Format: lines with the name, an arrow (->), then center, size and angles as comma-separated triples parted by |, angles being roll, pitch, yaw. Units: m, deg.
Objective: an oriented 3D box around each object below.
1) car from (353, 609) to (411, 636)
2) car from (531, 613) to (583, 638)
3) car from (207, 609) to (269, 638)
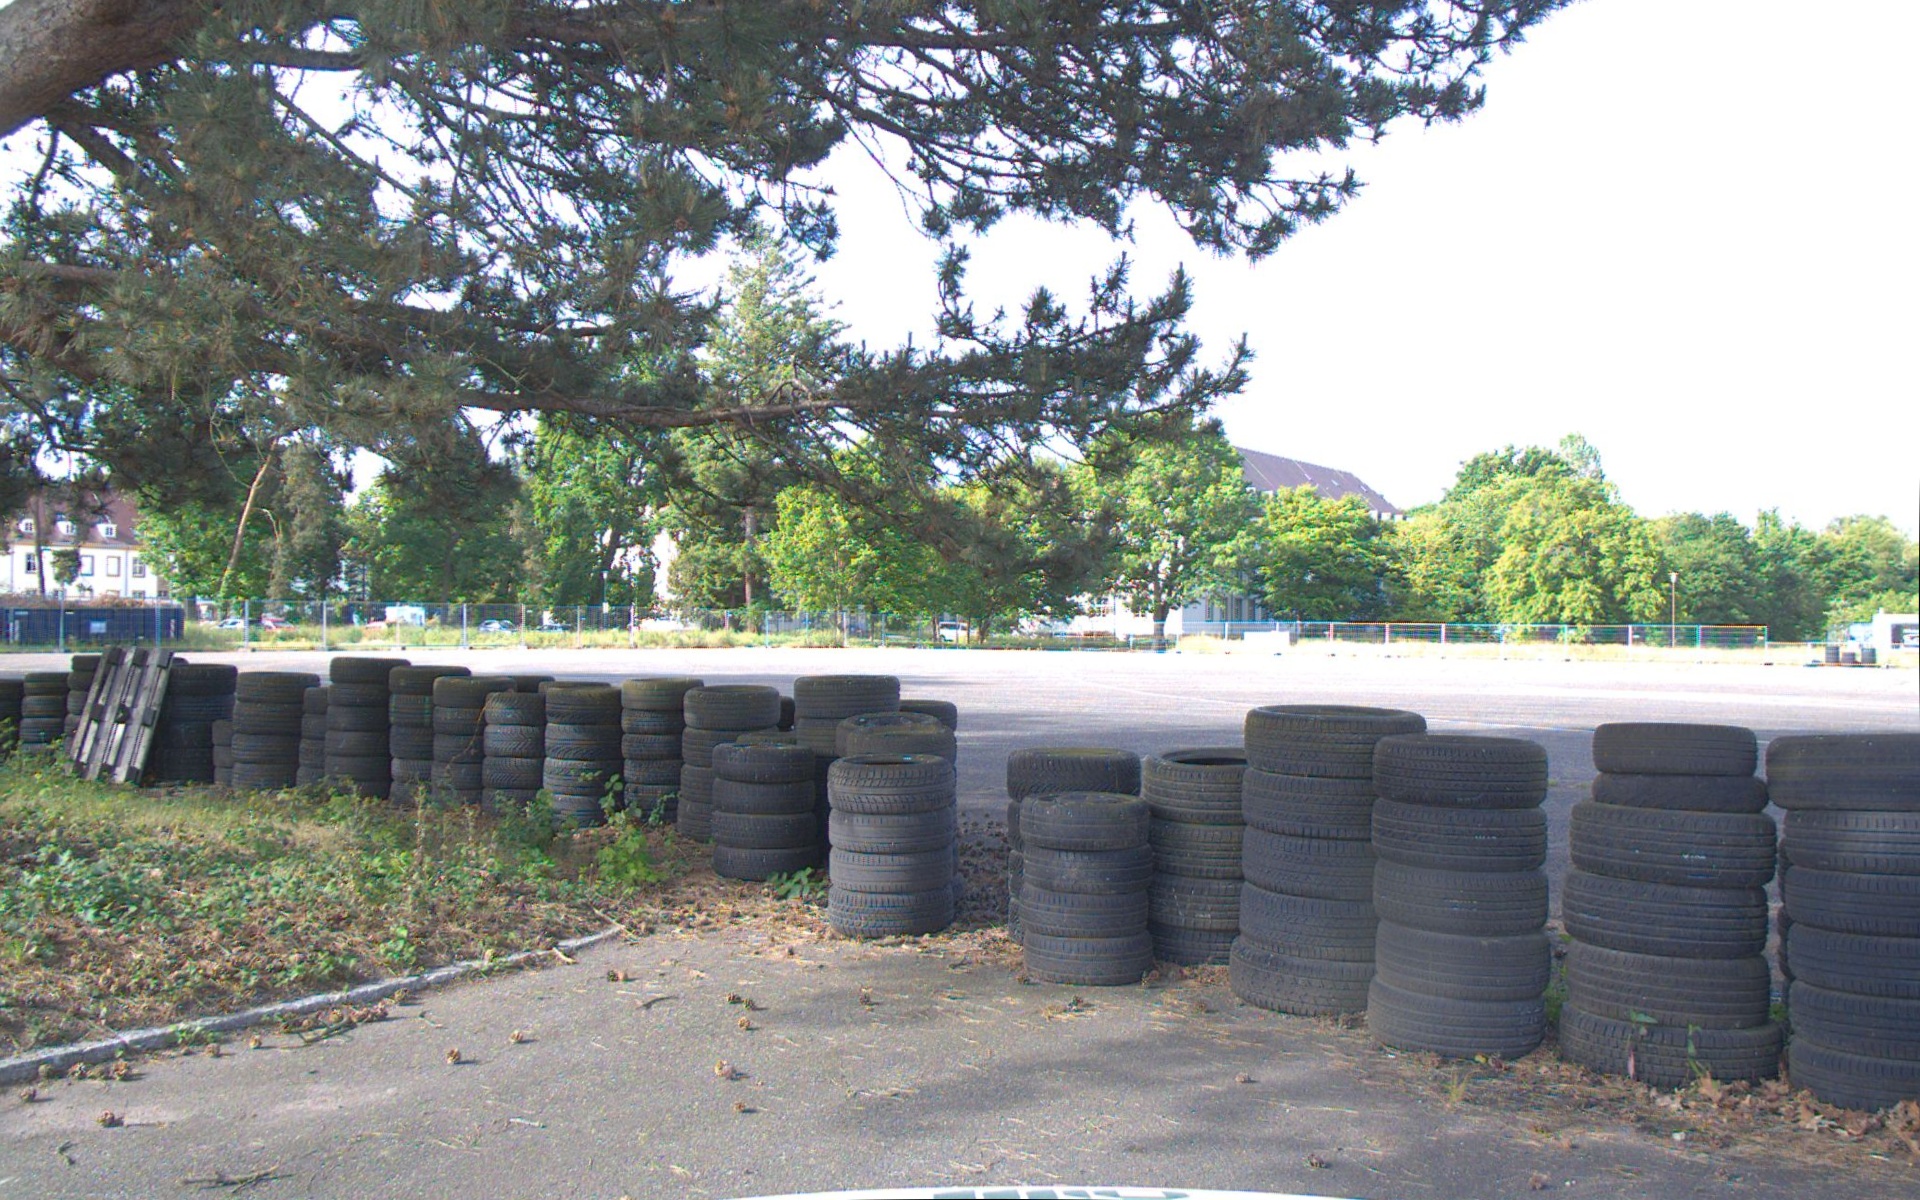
car -> -38.513, 1.505, 110.159 | 3.927, 1.780, 1.989 | 0, -1, 41
car -> -29.930, 1.870, 122.683 | 3.933, 1.780, 1.986 | 0, -1, 45
car -> -44.467, 1.430, 101.803 | 3.925, 1.780, 1.990 | 0, -1, 40
